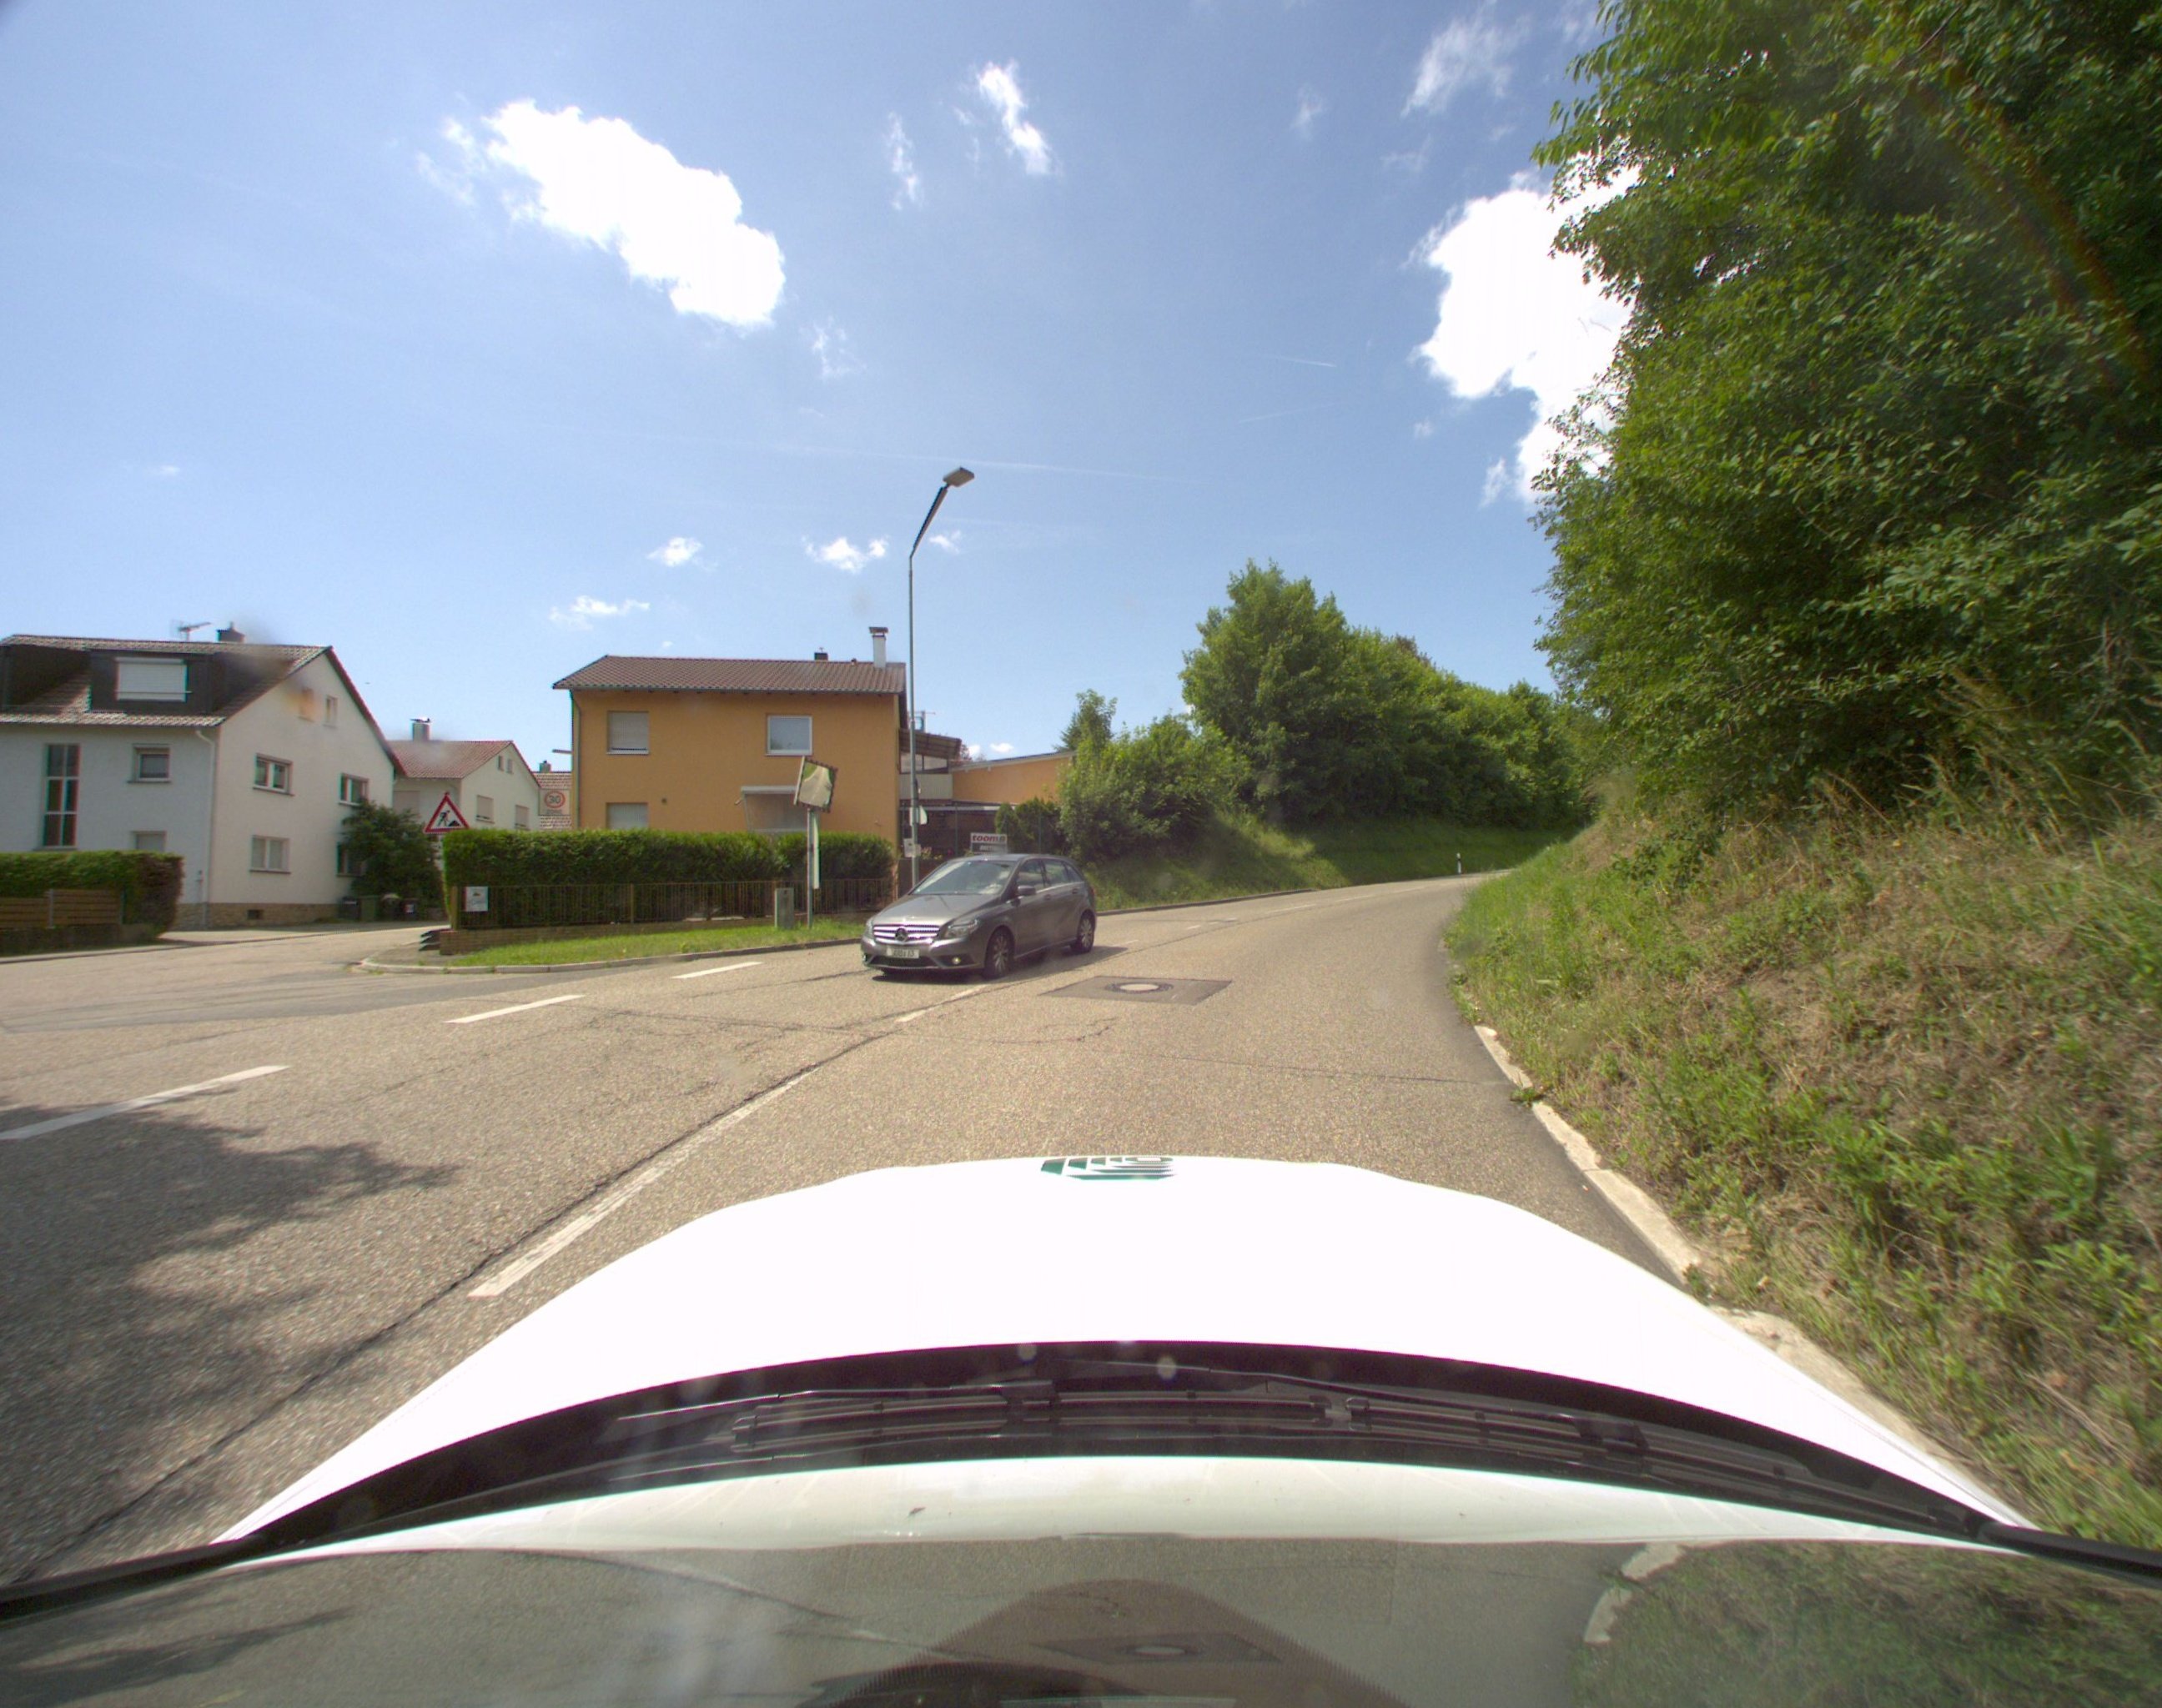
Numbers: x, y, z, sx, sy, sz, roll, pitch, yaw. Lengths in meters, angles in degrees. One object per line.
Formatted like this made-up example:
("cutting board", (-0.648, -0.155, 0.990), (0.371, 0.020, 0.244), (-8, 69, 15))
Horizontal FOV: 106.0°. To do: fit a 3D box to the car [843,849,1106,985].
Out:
("car", (-1.263, 0.712, 11.552), (1.703, 1.555, 4.153), (-1, 0, 25))
